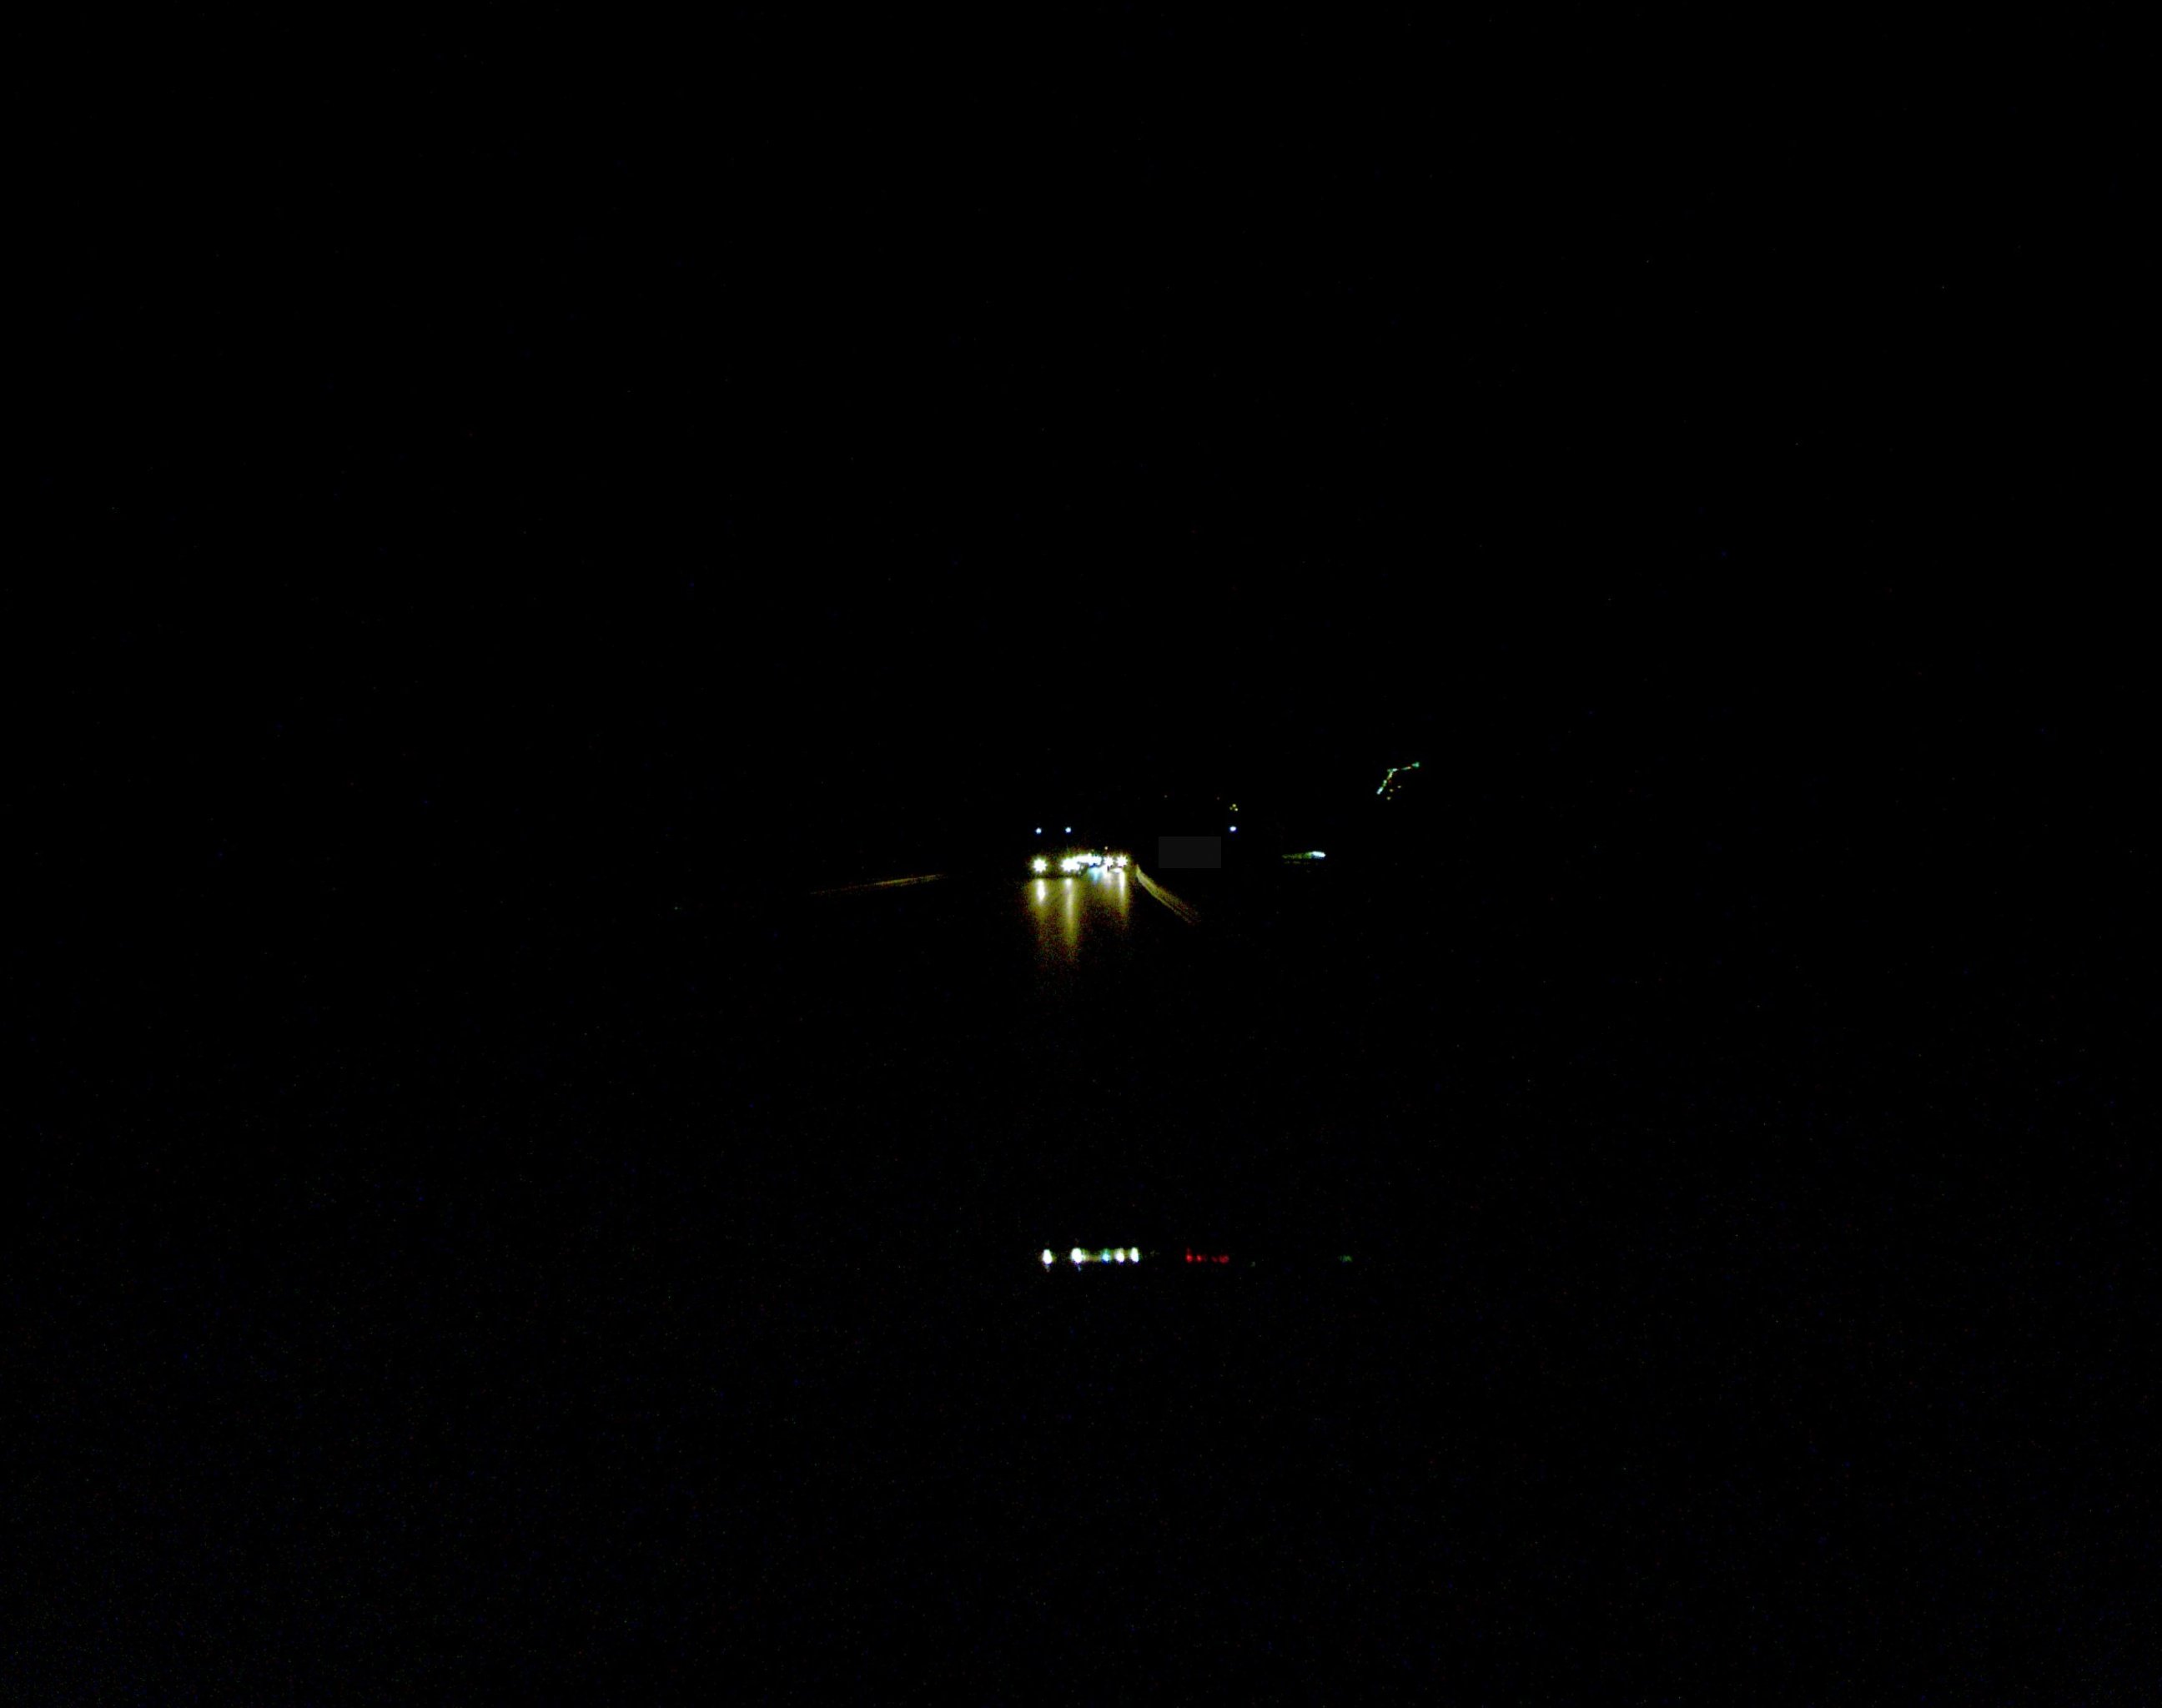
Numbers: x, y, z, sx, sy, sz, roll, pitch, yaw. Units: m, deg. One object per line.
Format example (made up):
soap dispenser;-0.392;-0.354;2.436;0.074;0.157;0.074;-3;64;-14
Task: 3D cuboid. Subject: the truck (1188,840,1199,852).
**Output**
truck;25.307;-1.885;170.604;2.305;2.460;6.275;-1;2;10

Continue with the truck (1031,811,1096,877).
truck;-0.965;-0.828;58.310;2.970;4.250;17.148;-1;1;5

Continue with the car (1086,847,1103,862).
car;1.452;0.079;83.166;1.691;1.619;4.724;-2;-1;3

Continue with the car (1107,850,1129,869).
car;3.185;0.471;65.883;1.812;1.508;3.937;-2;-1;3

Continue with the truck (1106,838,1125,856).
truck;5.187;-1.034;113.965;2.425;2.410;7.094;-2;0;6

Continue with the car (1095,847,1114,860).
car;2.922;-0.081;93.124;1.811;1.508;3.938;-2;-1;8

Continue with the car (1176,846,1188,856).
car;16.292;-0.494;122.372;1.811;1.508;3.938;-2;-1;7
